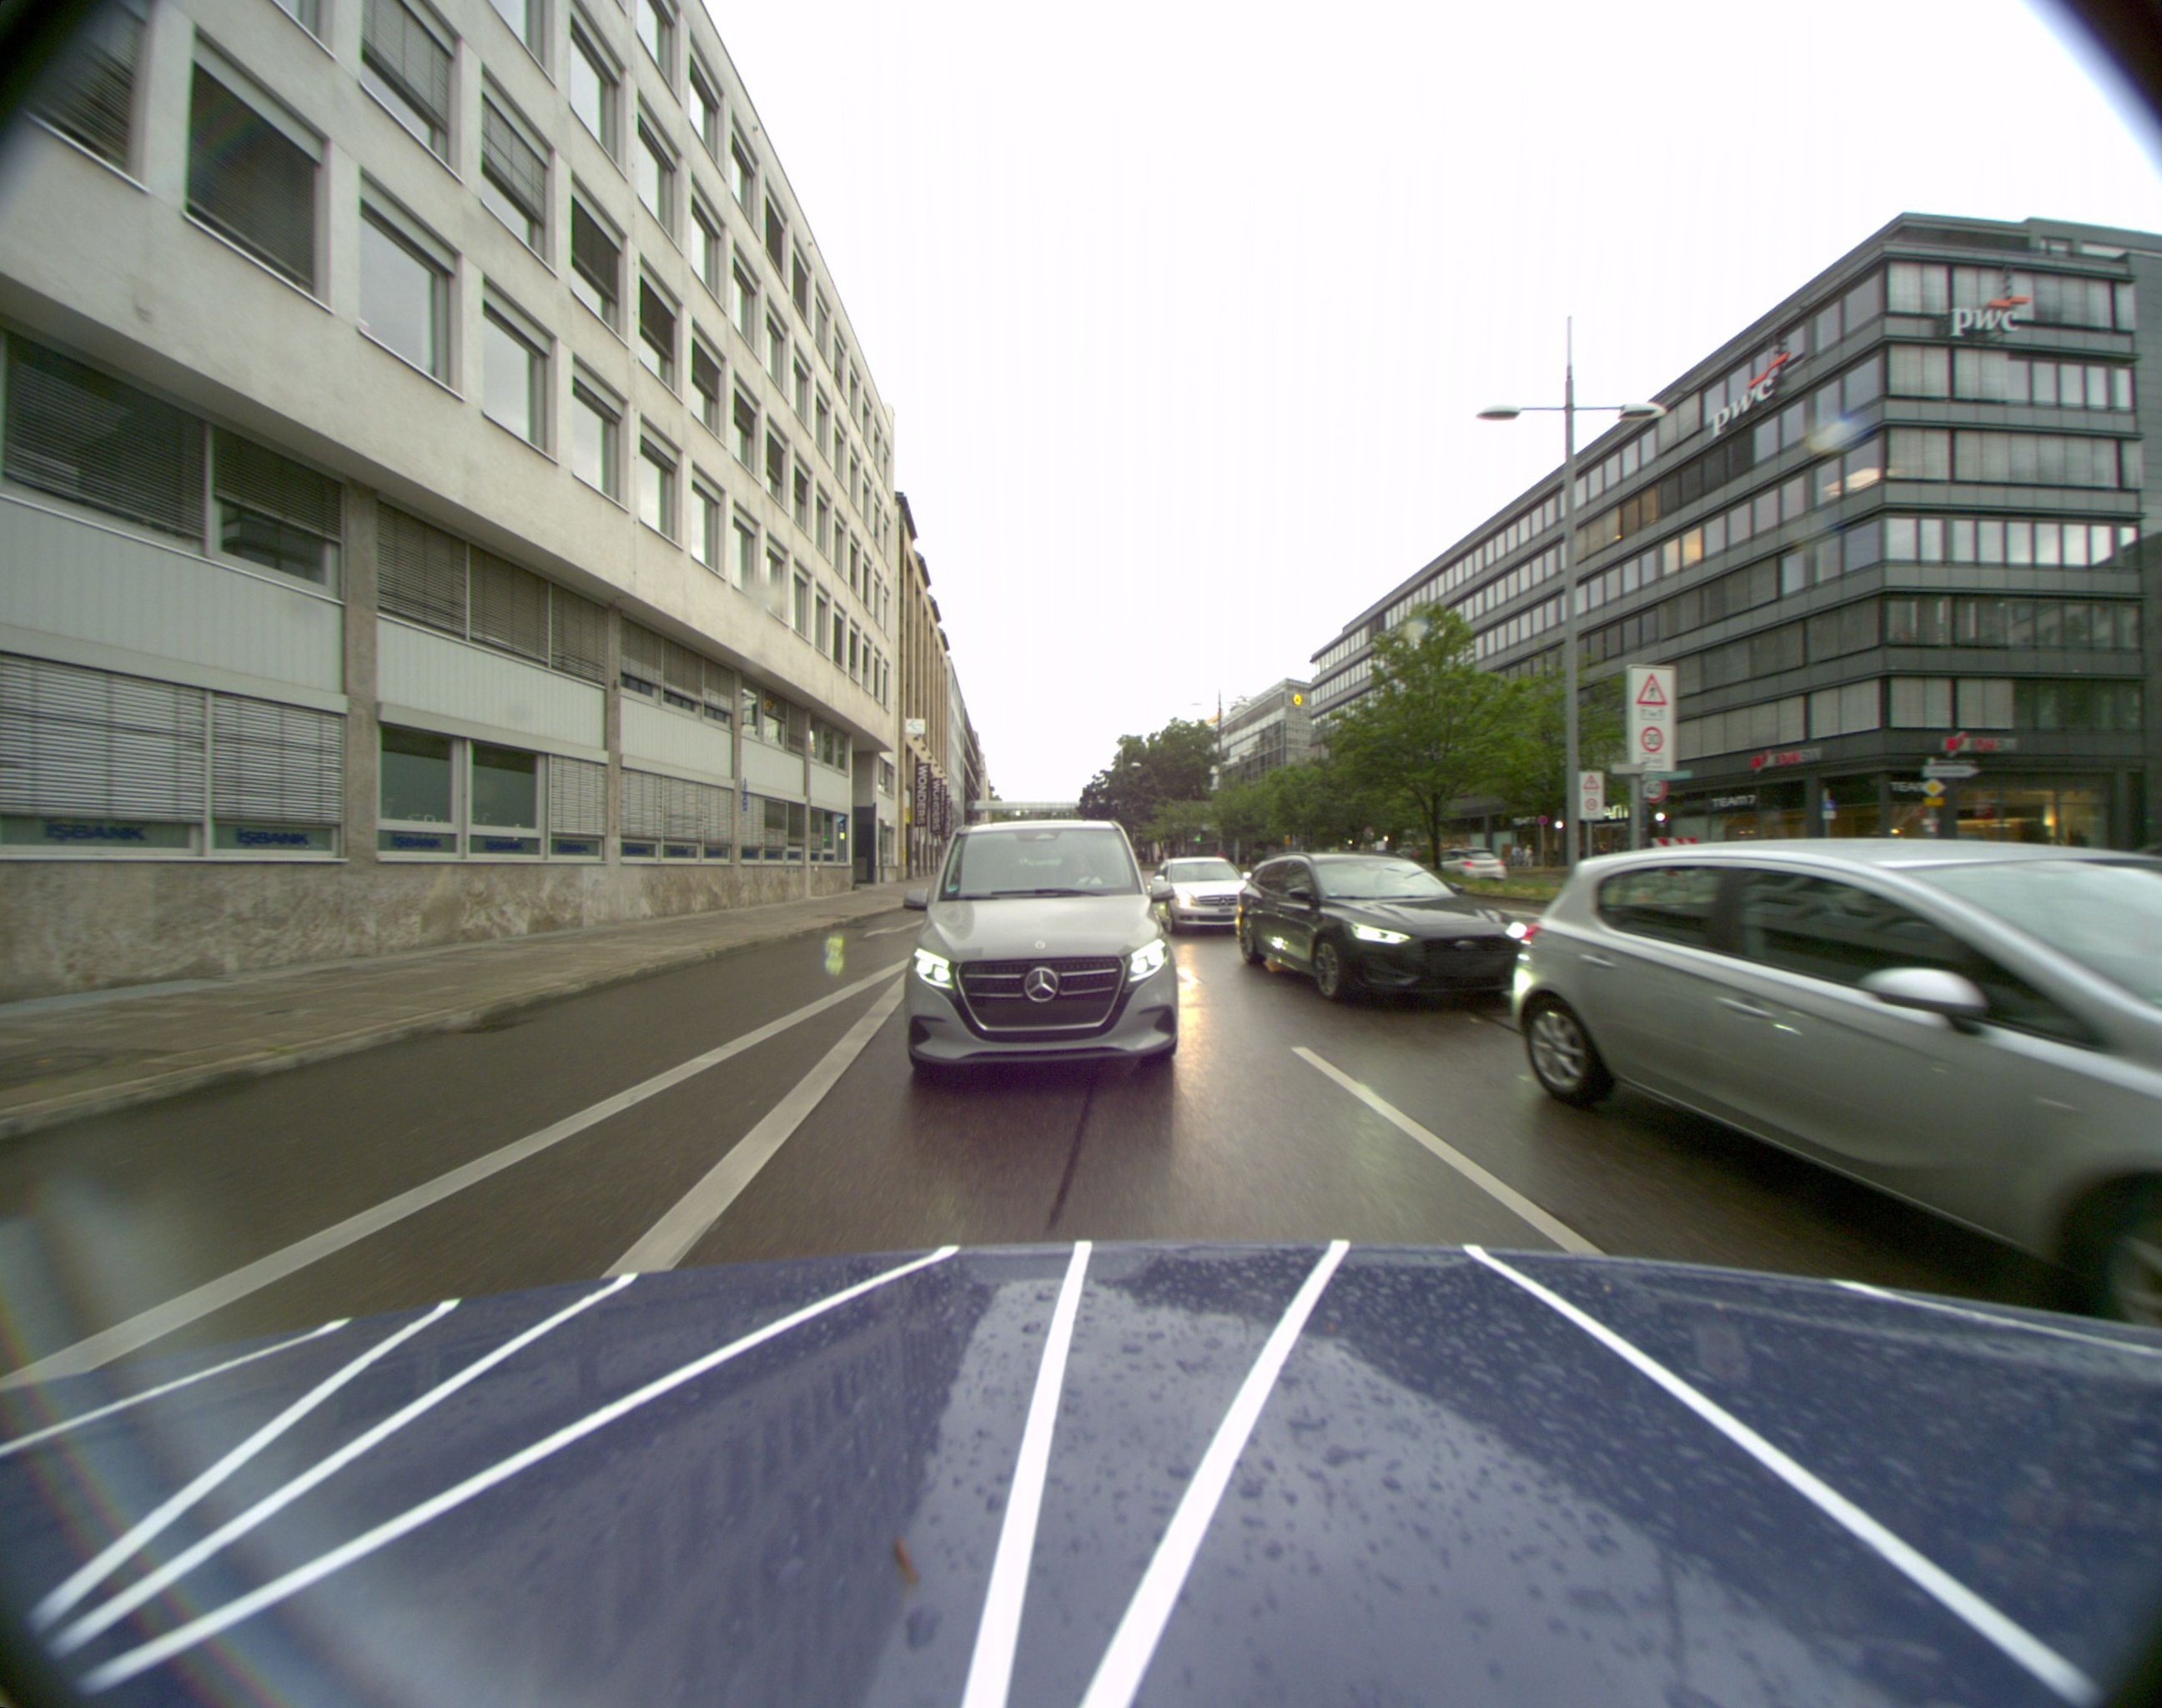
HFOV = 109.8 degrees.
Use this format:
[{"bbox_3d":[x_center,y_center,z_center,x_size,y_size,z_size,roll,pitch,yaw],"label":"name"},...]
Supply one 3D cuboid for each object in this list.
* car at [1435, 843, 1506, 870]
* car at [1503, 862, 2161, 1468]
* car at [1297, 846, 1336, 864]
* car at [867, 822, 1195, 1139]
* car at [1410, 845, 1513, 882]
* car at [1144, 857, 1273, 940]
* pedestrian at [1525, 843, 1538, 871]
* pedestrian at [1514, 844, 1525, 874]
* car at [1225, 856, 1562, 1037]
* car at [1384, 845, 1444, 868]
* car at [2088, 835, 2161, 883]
[{"bbox_3d":[23.374,0.157,45.763,1.999,1.498,3.998,-2,0,-5],"label":"car"},{"bbox_3d":[3.497,0.799,2.786,1.652,1.427,3.874,-2,0,-1],"label":"car"},{"bbox_3d":[21.284,0.094,68.731,1.999,1.498,3.998,-2,0,-5],"label":"car"},{"bbox_3d":[-0.354,0.755,7.102,1.916,1.844,5.025,-2,0,-1],"label":"car"},{"bbox_3d":[15.603,0.364,31.406,1.751,1.365,3.996,-2,0,-9],"label":"car"},{"bbox_3d":[2.425,0.802,15.466,1.776,1.372,4.094,-2,0,-2],"label":"car"},{"bbox_3d":[31.787,0.211,53.611,0.575,2.002,0.461,-2,1,-6],"label":"pedestrian"},{"bbox_3d":[30.187,0.352,52.315,0.541,2.002,0.297,-2,1,-6],"label":"pedestrian"},{"bbox_3d":[3.048,0.780,8.456,1.776,1.427,4.093,-2,0,-5],"label":"car"},{"bbox_3d":[22.809,0.179,52.212,1.999,1.498,4.105,-2,0,-5],"label":"car"},{"bbox_3d":[38.118,0.139,26.493,3.762,1.575,1.849,-2,0,-4],"label":"car"}]
